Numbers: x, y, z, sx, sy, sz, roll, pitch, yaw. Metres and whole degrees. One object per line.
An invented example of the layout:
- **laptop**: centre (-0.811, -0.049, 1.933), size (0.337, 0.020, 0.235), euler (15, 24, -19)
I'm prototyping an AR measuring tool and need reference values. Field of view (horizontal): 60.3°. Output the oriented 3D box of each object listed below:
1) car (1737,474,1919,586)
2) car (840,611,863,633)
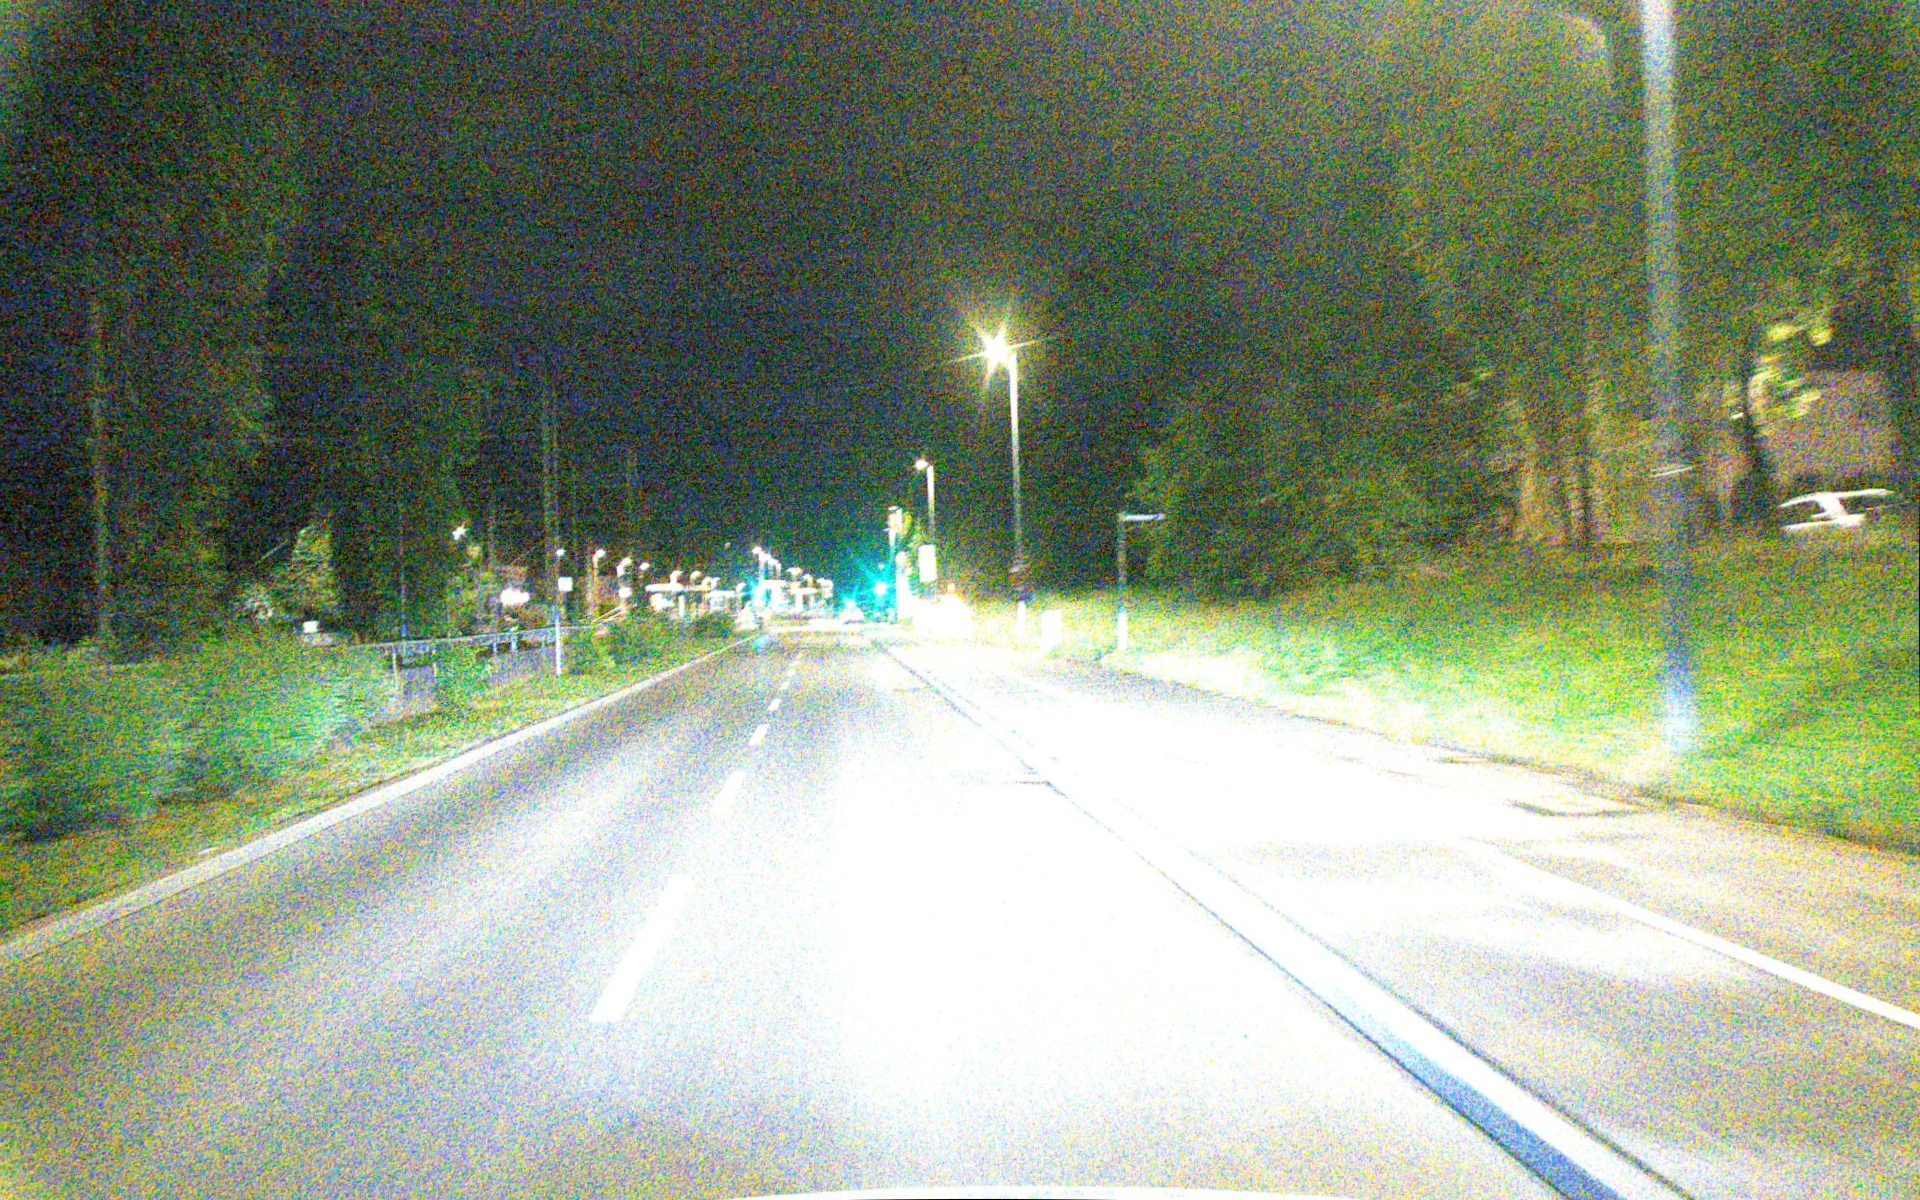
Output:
- **car**: centre (16.866, -1.293, 31.527), size (1.913, 1.869, 4.112), euler (-4, 0, -3)
- **car**: centre (-10.483, 2.100, 160.019), size (2.046, 2.049, 3.997), euler (-2, 0, -4)
